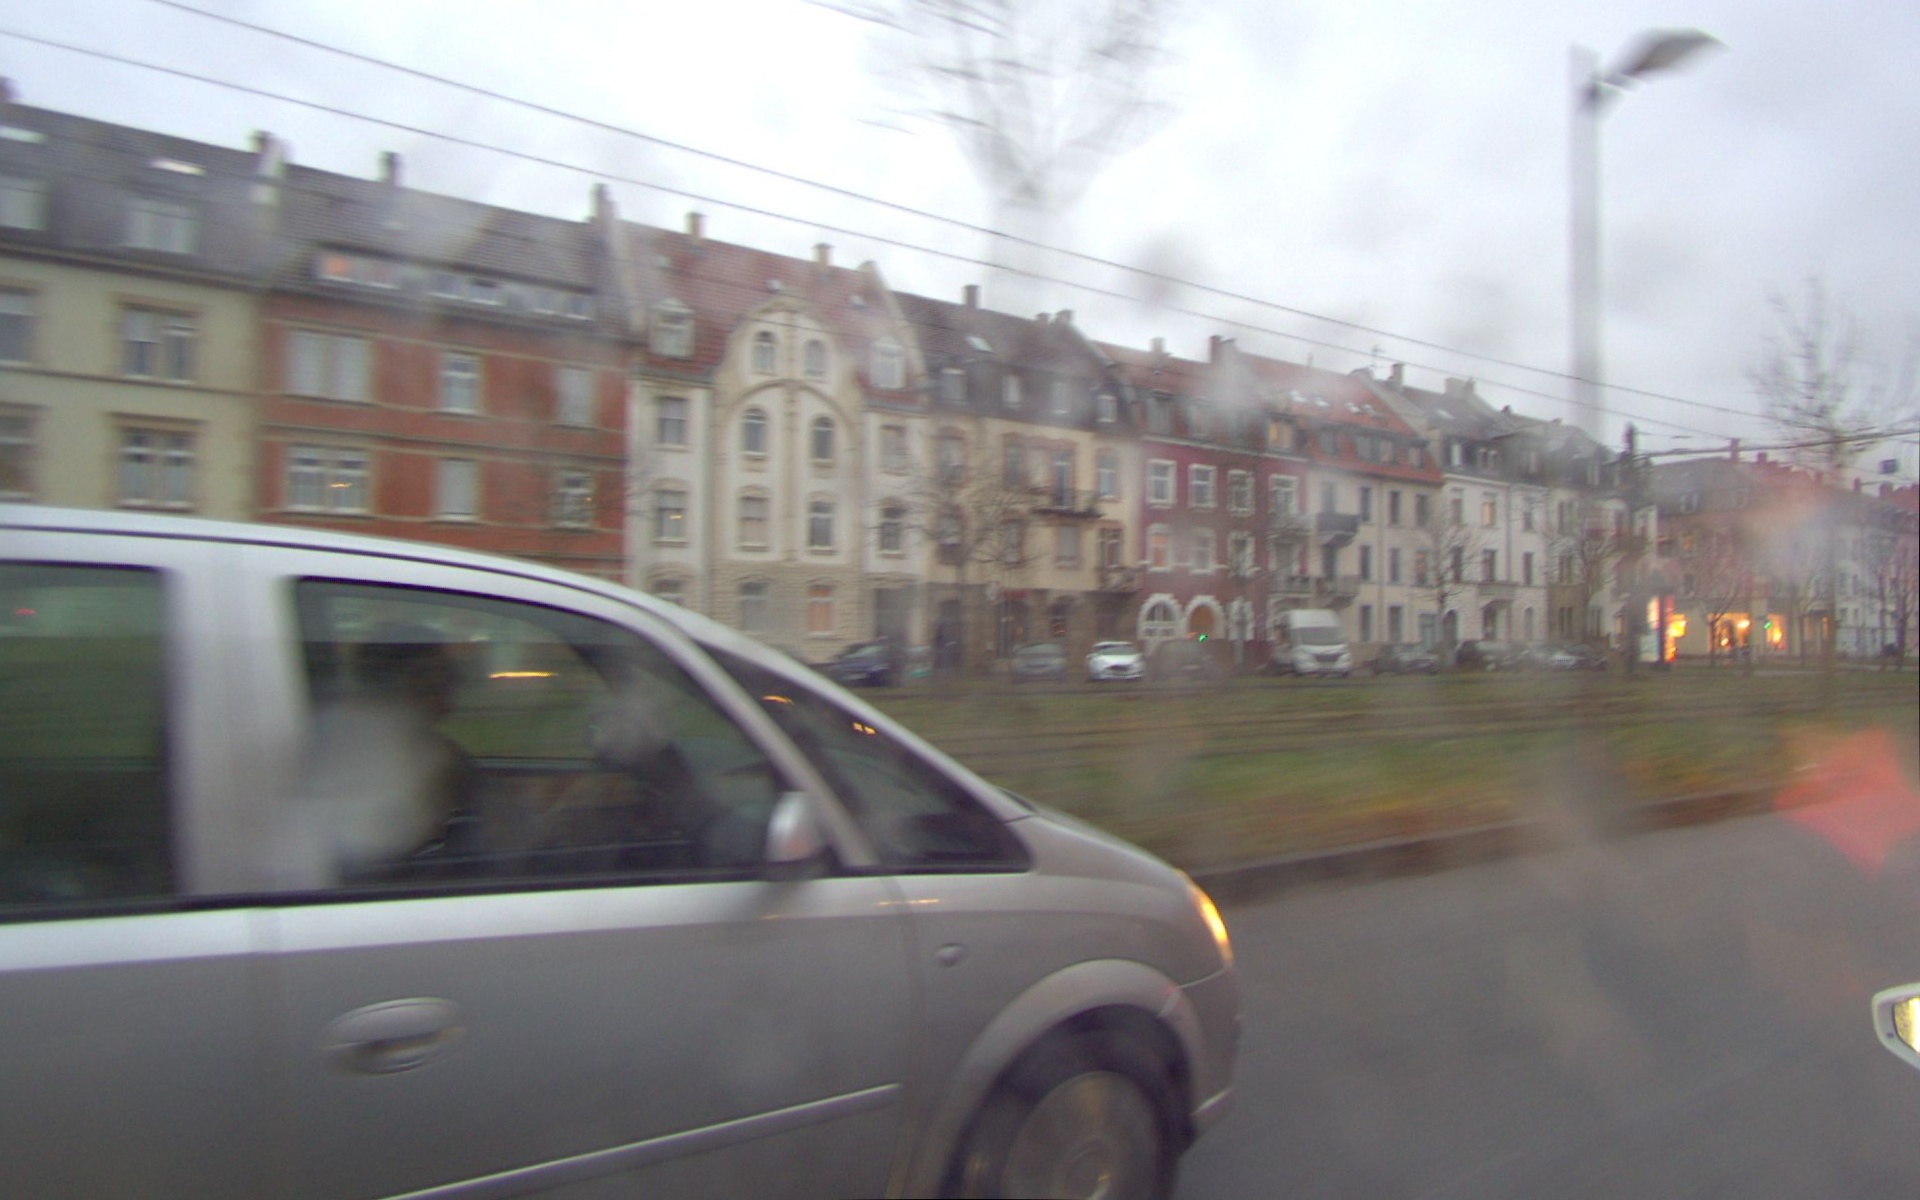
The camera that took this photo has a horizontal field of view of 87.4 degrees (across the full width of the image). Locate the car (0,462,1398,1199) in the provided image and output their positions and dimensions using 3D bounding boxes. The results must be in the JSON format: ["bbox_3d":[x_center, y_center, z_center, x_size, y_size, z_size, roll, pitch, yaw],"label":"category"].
[{"bbox_3d":[-1.052,0.675,2.304,4.007,1.621,1.800,2,-2,-31],"label":"car"}]

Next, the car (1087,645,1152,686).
[{"bbox_3d":[5.568,2.270,35.400,1.960,1.349,4.003,0,-3,5],"label":"car"}]

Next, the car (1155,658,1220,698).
[{"bbox_3d":[8.301,2.824,36.967,1.959,1.349,4.003,0,-3,7],"label":"car"}]

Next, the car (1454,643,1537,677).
[{"bbox_3d":[25.114,2.796,47.269,1.960,1.505,4.003,0,-3,4],"label":"car"}]

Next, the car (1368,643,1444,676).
[{"bbox_3d":[19.532,2.593,44.126,1.959,1.349,4.003,0,-3,7],"label":"car"}]

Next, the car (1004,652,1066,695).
[{"bbox_3d":[2.579,2.437,33.896,1.960,1.349,4.003,0,-3,5],"label":"car"}]

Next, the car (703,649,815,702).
[{"bbox_3d":[-5.481,2.055,27.983,1.959,1.349,4.003,0,-3,6],"label":"car"}]

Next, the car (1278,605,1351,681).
[{"bbox_3d":[14.371,1.772,41.032,1.959,2.834,5.872,-1,-3,11],"label":"car"}]

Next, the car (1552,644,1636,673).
[{"bbox_3d":[31.273,2.879,49.670,1.959,1.349,4.003,0,-3,7],"label":"car"}]

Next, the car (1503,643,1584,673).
[{"bbox_3d":[28.010,2.781,48.366,1.959,1.349,4.003,0,-3,7],"label":"car"}]

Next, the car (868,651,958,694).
[{"bbox_3d":[-1.326,2.133,30.046,1.959,1.184,4.004,0,-3,8],"label":"car"}]
